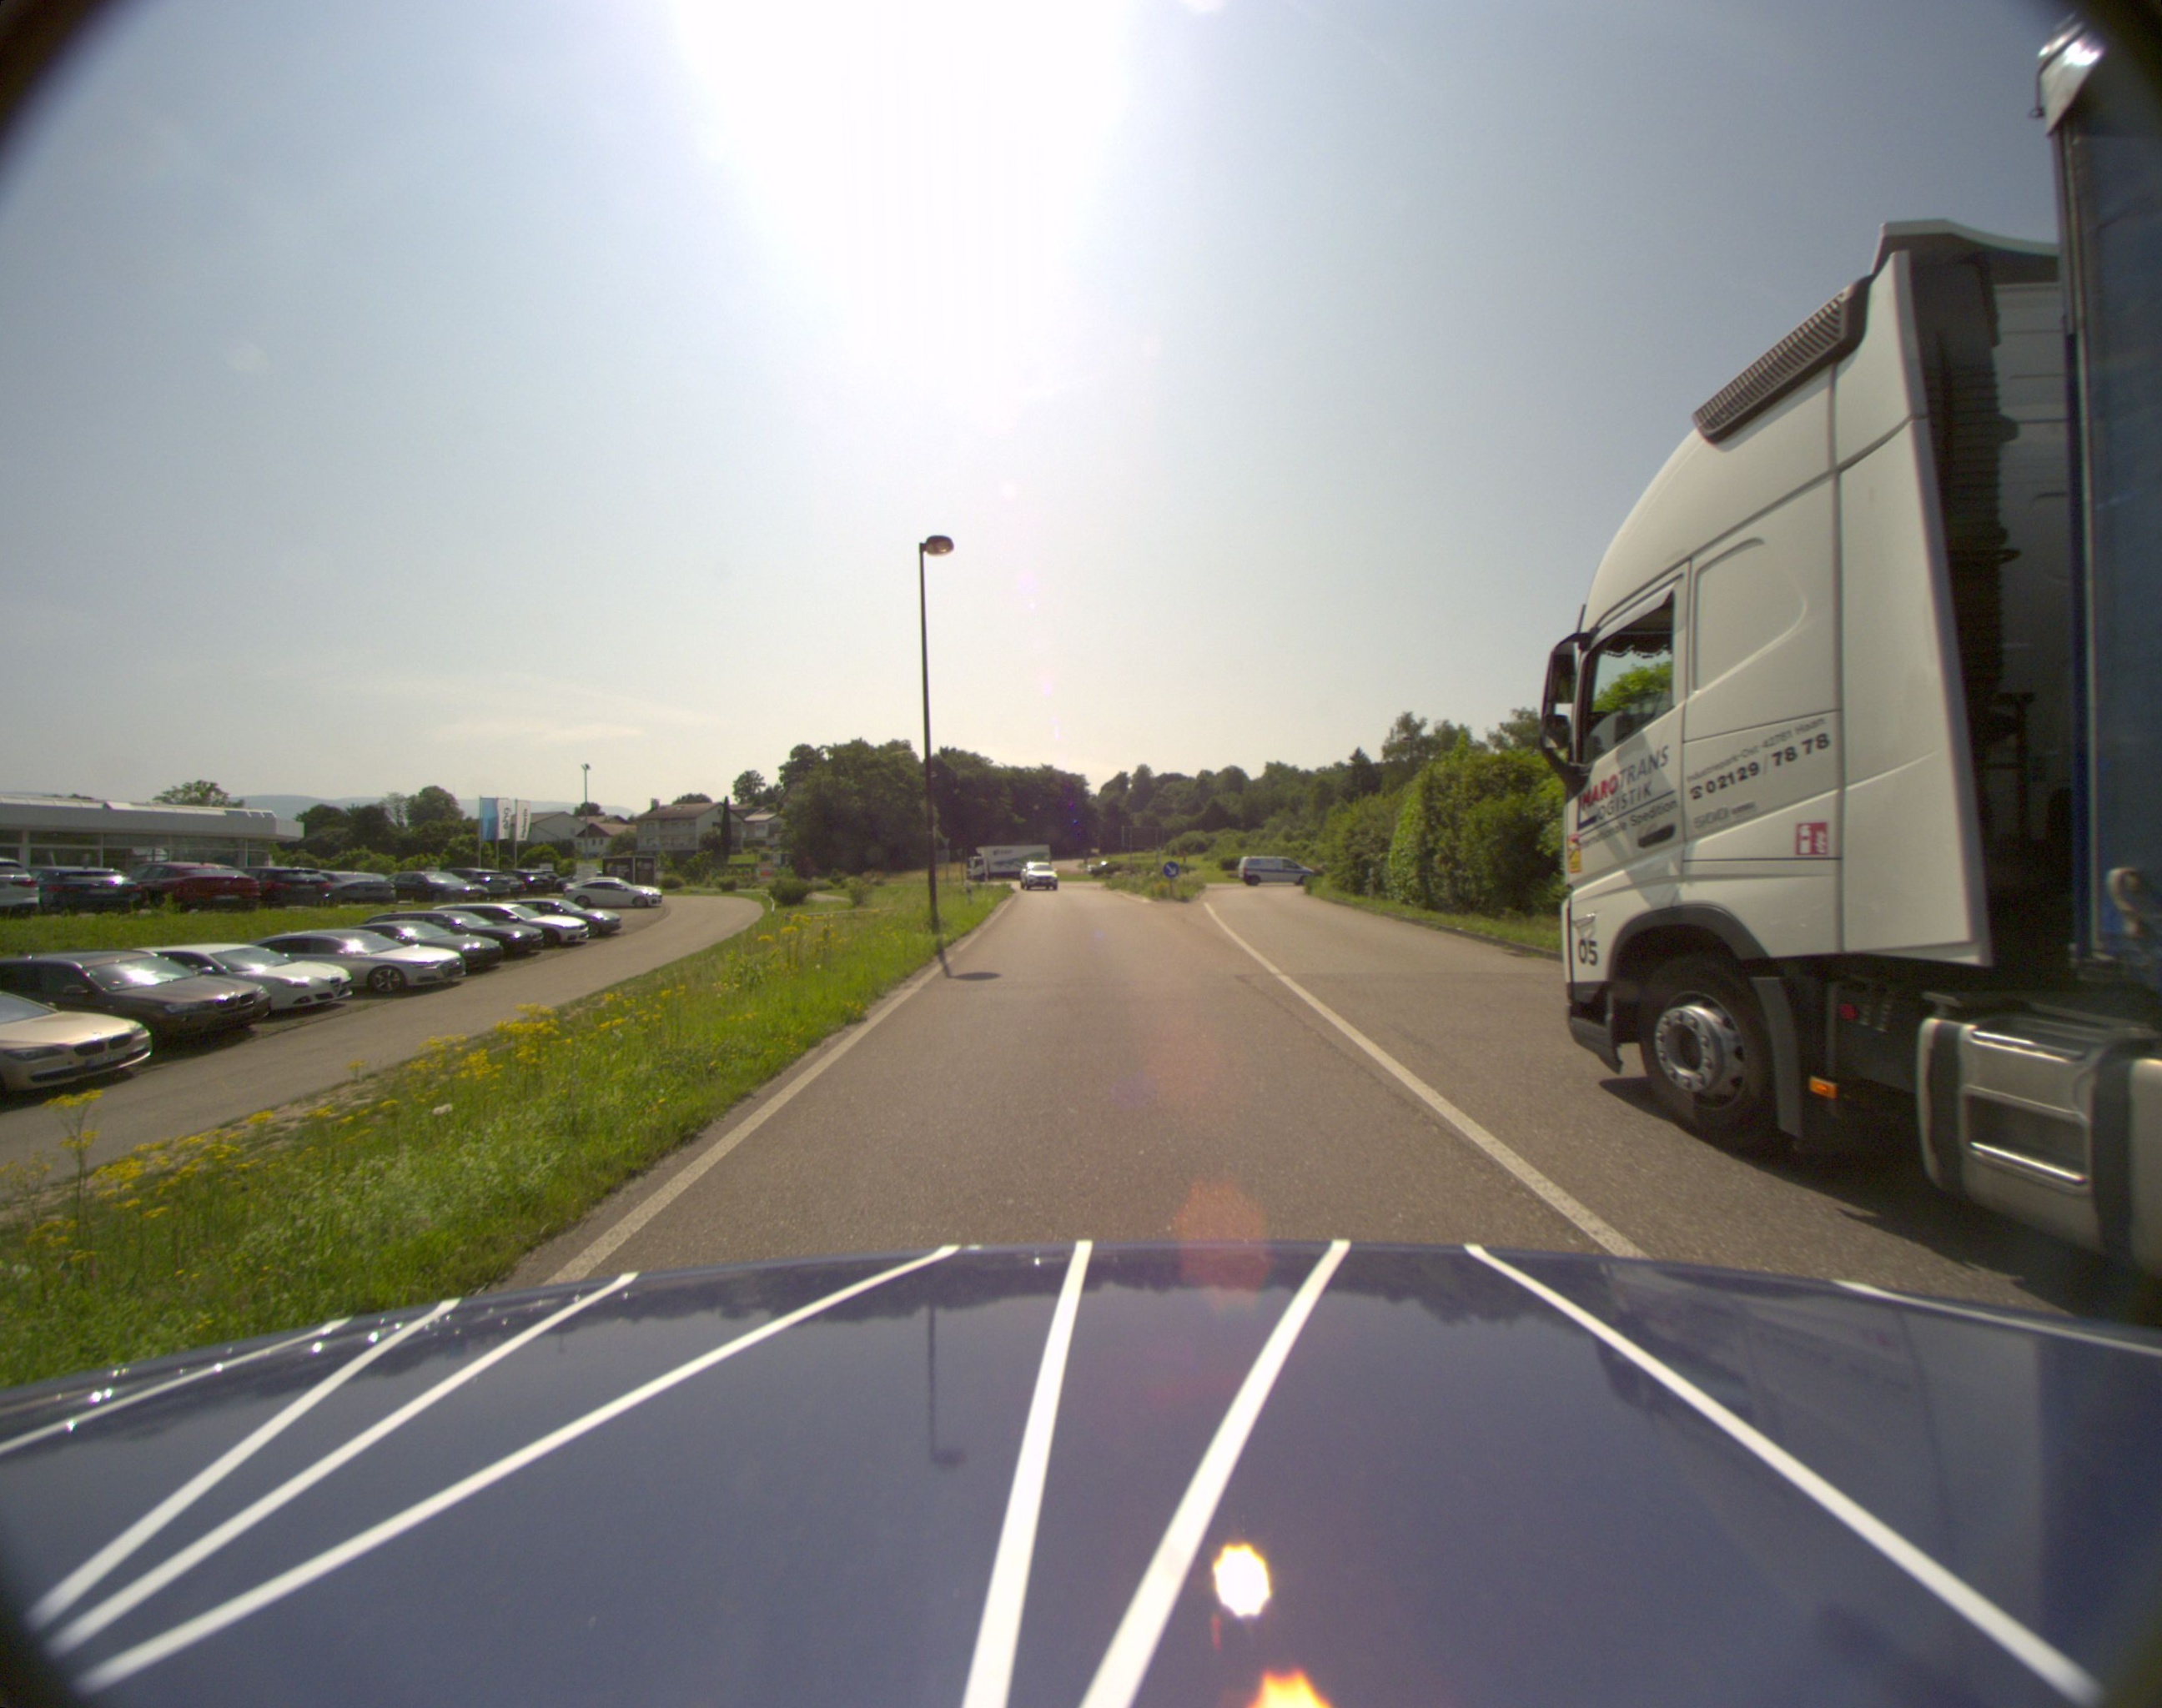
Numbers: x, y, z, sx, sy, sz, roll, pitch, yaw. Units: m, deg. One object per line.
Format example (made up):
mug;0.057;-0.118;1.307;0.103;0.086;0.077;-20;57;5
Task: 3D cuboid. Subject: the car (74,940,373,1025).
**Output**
car;-18.885;2.805;16.934;4.261;1.457;1.872;0;2;-5

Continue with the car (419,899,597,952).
car;-19.959;2.480;26.717;4.575;1.557;1.920;0;2;-14

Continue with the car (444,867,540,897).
car;-31.401;1.499;40.522;4.001;1.491;1.952;1;-1;14

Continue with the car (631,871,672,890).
car;-35.944;2.174;63.531;1.914;1.503;4.363;0;-1;-44

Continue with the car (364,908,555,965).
car;-19.652;2.591;24.239;4.264;1.474;1.920;0;2;-14

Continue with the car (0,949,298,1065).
car;-18.240;2.837;14.514;4.261;1.739;1.998;0;2;-5

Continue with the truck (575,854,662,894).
truck;-31.592;1.378;51.858;5.614;2.649;1.953;-1;-1;20

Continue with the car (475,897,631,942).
car;-20.108;2.458;29.189;4.577;1.413;1.780;0;2;-19

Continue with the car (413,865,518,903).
car;-30.072;1.417;37.135;4.001;1.740;1.952;0;0;14

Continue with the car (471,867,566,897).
car;-31.836;1.555;43.032;4.417;1.491;1.951;1;1;14

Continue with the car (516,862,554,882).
car;-43.708;1.416;60.780;1.914;1.503;4.363;0;-1;-44

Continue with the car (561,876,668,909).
car;-24.901;2.032;40.739;4.582;1.561;1.765;0;1;-20

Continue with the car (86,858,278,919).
car;-27.184;1.011;23.016;4.459;1.737;1.952;-1;0;14

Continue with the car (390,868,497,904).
car;-28.650;1.419;34.164;4.000;1.517;1.953;-1;-1;20

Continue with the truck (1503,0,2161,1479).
truck;3.929;-0.576;1.937;2.519;4.233;6.114;-1;0;3

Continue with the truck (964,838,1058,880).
truck;-7.120;0.465;77.662;9.034;3.807;2.894;-3;1;-25

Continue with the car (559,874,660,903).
car;-26.639;1.940;43.107;4.672;1.561;1.765;2;-1;-25

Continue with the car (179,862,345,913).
car;-28.106;1.137;26.131;4.459;1.625;1.952;-1;0;14

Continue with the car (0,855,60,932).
car;-26.770;0.933;17.780;4.459;1.737;1.841;-1;0;14

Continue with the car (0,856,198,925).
car;-26.856;0.959;20.698;4.459;1.737;1.841;-1;0;14

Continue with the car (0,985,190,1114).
car;-17.859;3.050;12.029;4.781;1.500;1.998;0;2;-5

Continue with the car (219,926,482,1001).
car;-18.312;2.721;19.310;4.437;1.457;1.920;0;2;-13

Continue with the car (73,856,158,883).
car;-56.930;0.920;44.797;4.032;1.576;1.913;-1;-1;19

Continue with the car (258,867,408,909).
car;-28.113;1.259;28.592;4.459;1.491;1.952;-1;-1;14

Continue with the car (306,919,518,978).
car;-19.132;2.699;21.920;4.261;1.405;1.921;1;2;-5

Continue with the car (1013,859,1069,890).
car;-2.518;1.227;46.139;2.199;1.642;5.115;-3;0;-17

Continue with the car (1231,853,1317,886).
car;12.609;1.006;49.627;5.219;1.926;1.863;-2;0;20
